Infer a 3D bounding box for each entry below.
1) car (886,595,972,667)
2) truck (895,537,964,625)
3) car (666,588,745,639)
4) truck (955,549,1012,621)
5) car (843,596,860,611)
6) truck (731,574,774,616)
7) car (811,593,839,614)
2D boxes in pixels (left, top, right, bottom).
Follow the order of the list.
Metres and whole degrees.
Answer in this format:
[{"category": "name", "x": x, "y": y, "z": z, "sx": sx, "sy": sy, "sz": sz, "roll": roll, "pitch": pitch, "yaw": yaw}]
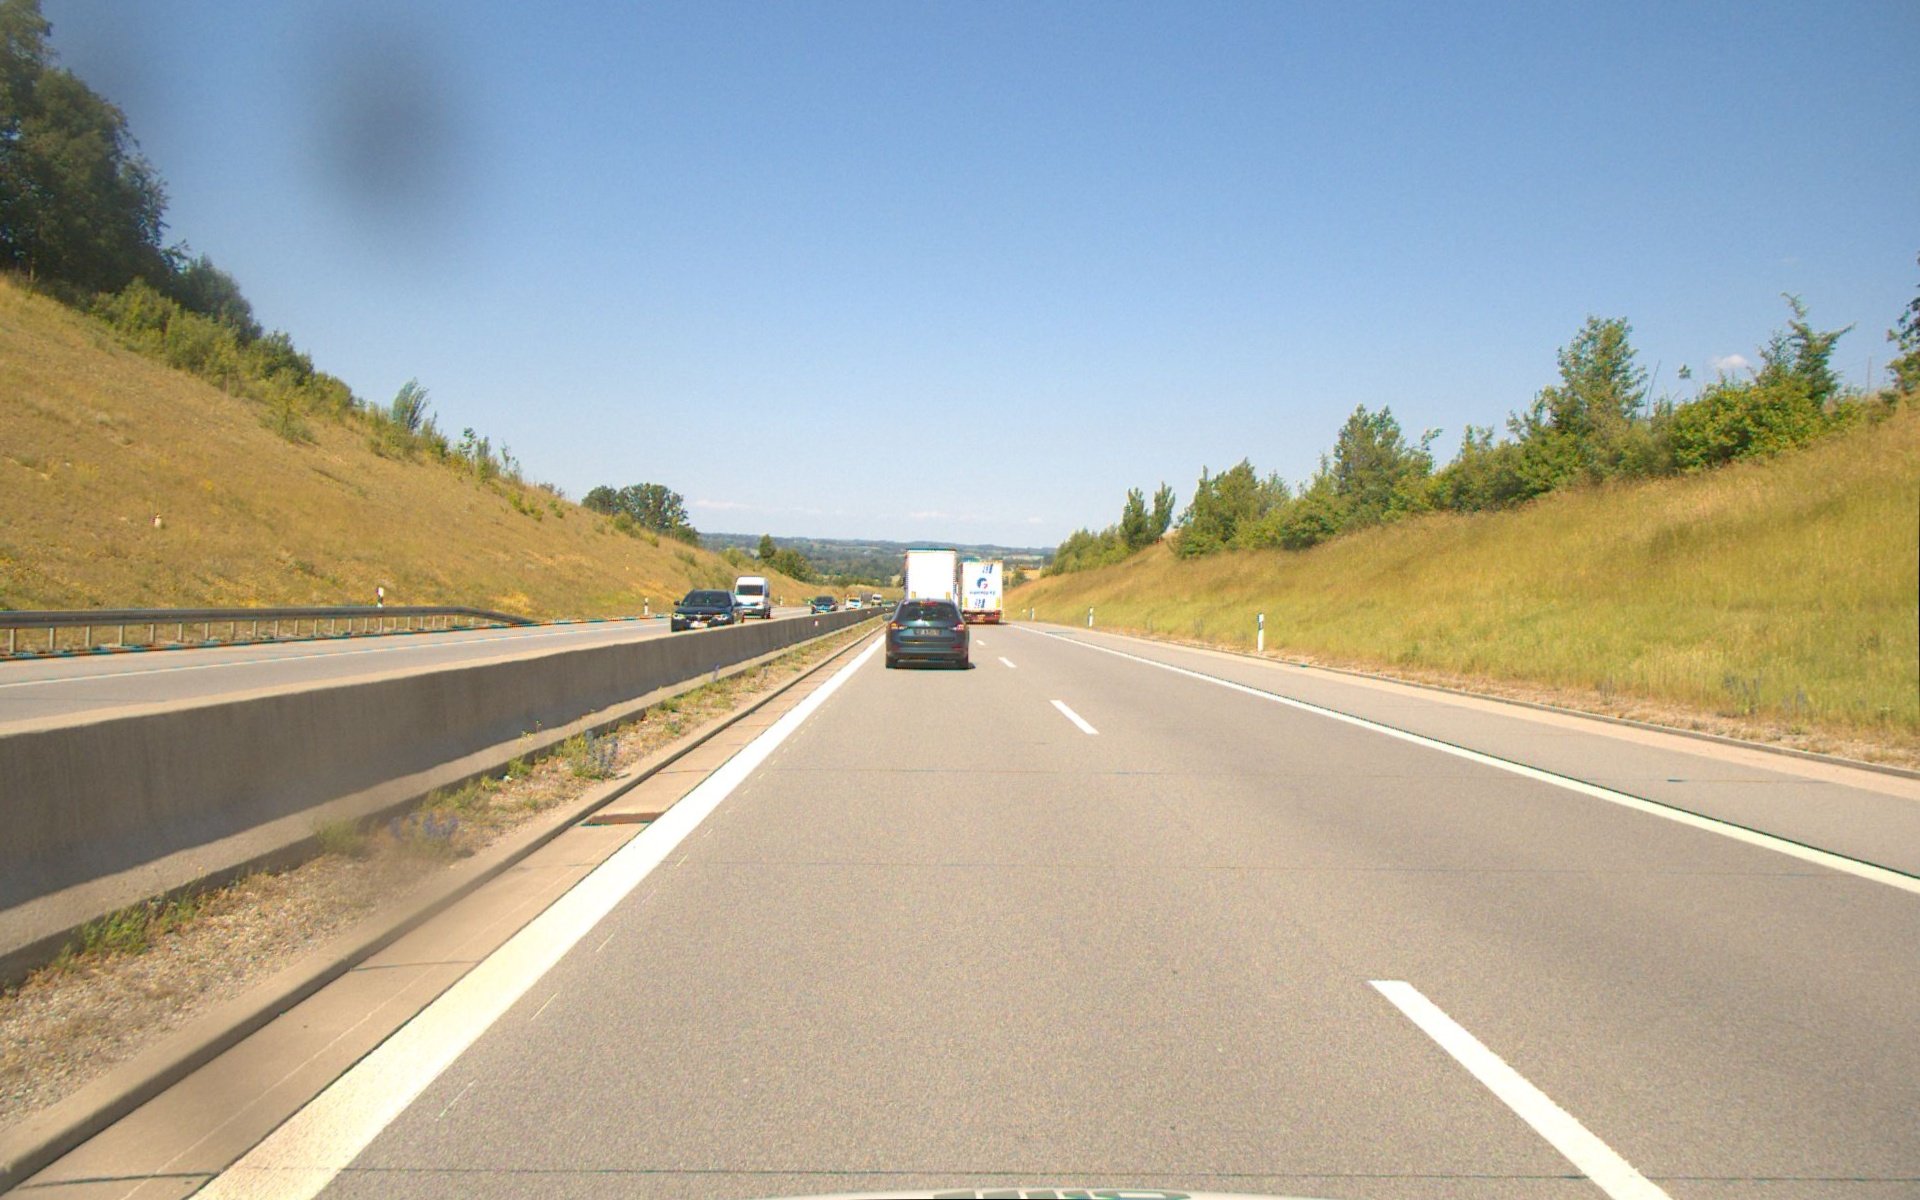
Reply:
[{"category": "car", "x": -0.706, "y": 0.630, "z": 35.639, "sx": 1.741, "sy": 1.466, "sz": 3.787, "roll": 0, "pitch": 0, "yaw": -3}, {"category": "truck", "x": -1.545, "y": -0.991, "z": 90.070, "sx": 3.144, "sy": 4.458, "sz": 11.235, "roll": 1, "pitch": 0, "yaw": 2}, {"category": "car", "x": -7.835, "y": 0.389, "z": 51.345, "sx": 1.816, "sy": 1.487, "sz": 4.767, "roll": 1, "pitch": 0, "yaw": -2}, {"category": "truck", "x": 1.614, "y": -0.958, "z": 109.554, "sx": 3.530, "sy": 4.458, "sz": 11.235, "roll": 1, "pitch": 0, "yaw": 1}, {"category": "car", "x": -12.307, "y": 0.372, "z": 188.328, "sx": 1.740, "sy": 1.629, "sz": 4.038, "roll": 1, "pitch": 0, "yaw": -2}, {"category": "truck", "x": -12.961, "y": -0.332, "z": 103.537, "sx": 2.070, "sy": 2.503, "sz": 5.949, "roll": 1, "pitch": 0, "yaw": -2}, {"category": "car", "x": -9.919, "y": 0.226, "z": 121.754, "sx": 1.816, "sy": 1.487, "sz": 4.331, "roll": 1, "pitch": 0, "yaw": -2}]
